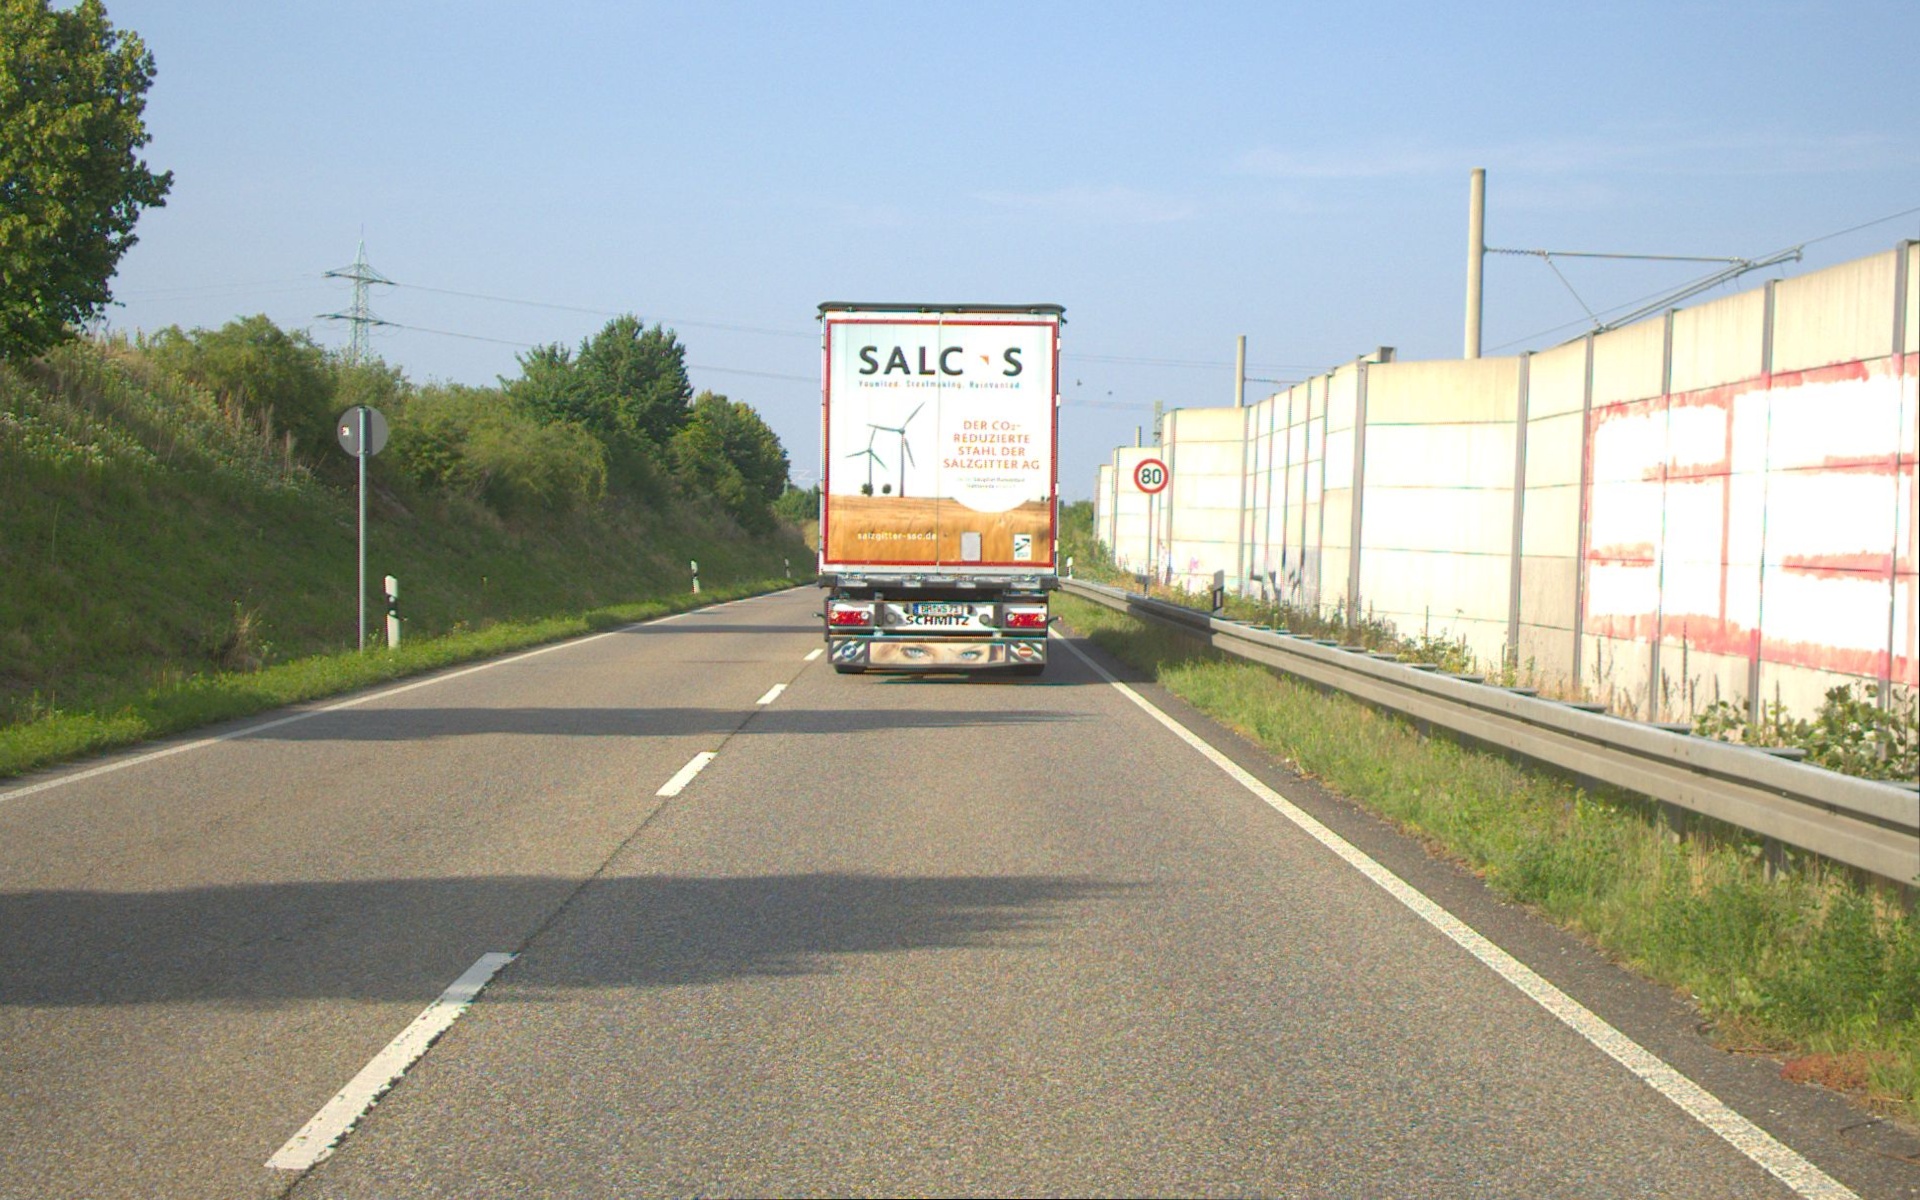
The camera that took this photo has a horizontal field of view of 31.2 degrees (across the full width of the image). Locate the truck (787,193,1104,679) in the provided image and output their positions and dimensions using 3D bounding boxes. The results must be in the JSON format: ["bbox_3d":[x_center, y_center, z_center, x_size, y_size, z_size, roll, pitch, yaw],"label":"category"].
[{"bbox_3d":[-0.338,-1.865,42.117,3.290,5.072,12.039,0,1,-2],"label":"truck"}]
